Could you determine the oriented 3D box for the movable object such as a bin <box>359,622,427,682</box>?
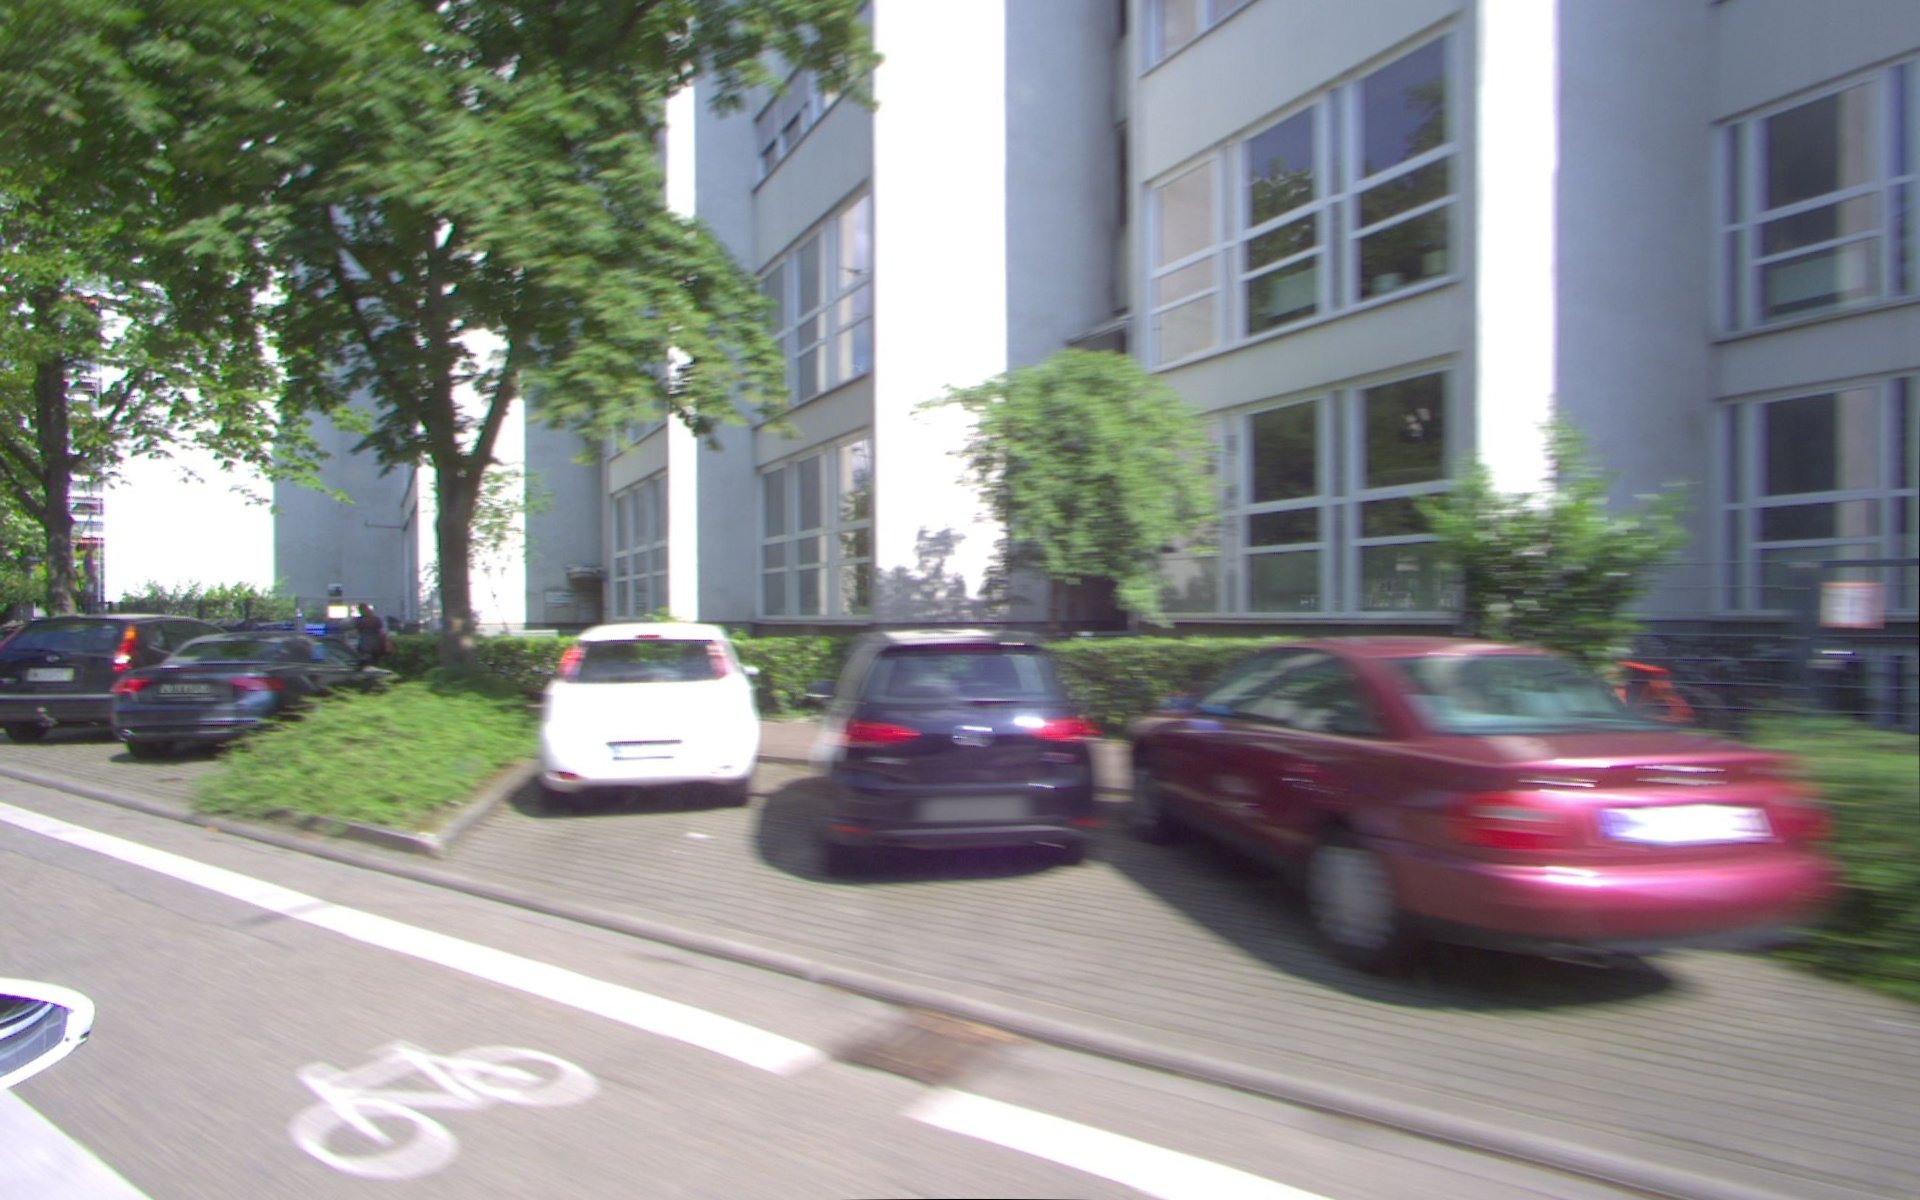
[{"bbox_3d":[-14.670,1.317,25.894,1.362,1.466,1.254,-2,1,-36],"label":"movable object such as a bin"}]

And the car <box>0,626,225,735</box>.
[{"bbox_3d":[-13.845,1.189,16.073,1.694,1.462,4.072,2,-1,-11],"label":"car"}]

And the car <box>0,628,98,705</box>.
[{"bbox_3d":[-19.359,1.282,19.473,1.994,1.460,4.535,1,-3,-13],"label":"car"}]

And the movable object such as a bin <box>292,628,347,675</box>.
[{"bbox_3d":[-19.729,1.557,30.847,1.201,1.356,1.252,-2,1,-42],"label":"movable object such as a bin"}]

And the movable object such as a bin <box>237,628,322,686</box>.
[{"bbox_3d":[-16.330,1.358,24.035,1.307,1.335,1.273,-1,-2,33],"label":"movable object such as a bin"}]

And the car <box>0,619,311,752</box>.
[{"bbox_3d":[-11.149,1.118,14.114,1.869,1.594,4.000,1,-2,-9],"label":"car"}]

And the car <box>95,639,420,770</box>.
[{"bbox_3d":[-8.584,1.194,12.755,1.870,1.366,4.174,1,-2,-12],"label":"car"}]

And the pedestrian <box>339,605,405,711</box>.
[{"bbox_3d":[-10.915,1.053,18.582,0.990,1.898,0.758,-1,-1,38],"label":"pedestrian"}]

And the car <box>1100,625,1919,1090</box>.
[{"bbox_3d":[2.285,0.890,5.451,1.831,1.442,4.157,-1,-1,-10],"label":"car"}]

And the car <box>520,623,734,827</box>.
[{"bbox_3d":[-2.888,0.966,9.380,1.507,1.480,3.997,0,-1,-13],"label":"car"}]

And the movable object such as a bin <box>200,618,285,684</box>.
[{"bbox_3d":[-17.790,1.254,24.826,1.449,1.558,1.273,-1,-2,33],"label":"movable object such as a bin"}]

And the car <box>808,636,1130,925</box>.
[{"bbox_3d":[-0.226,1.019,7.335,1.667,1.467,3.998,0,-1,-10],"label":"car"}]
